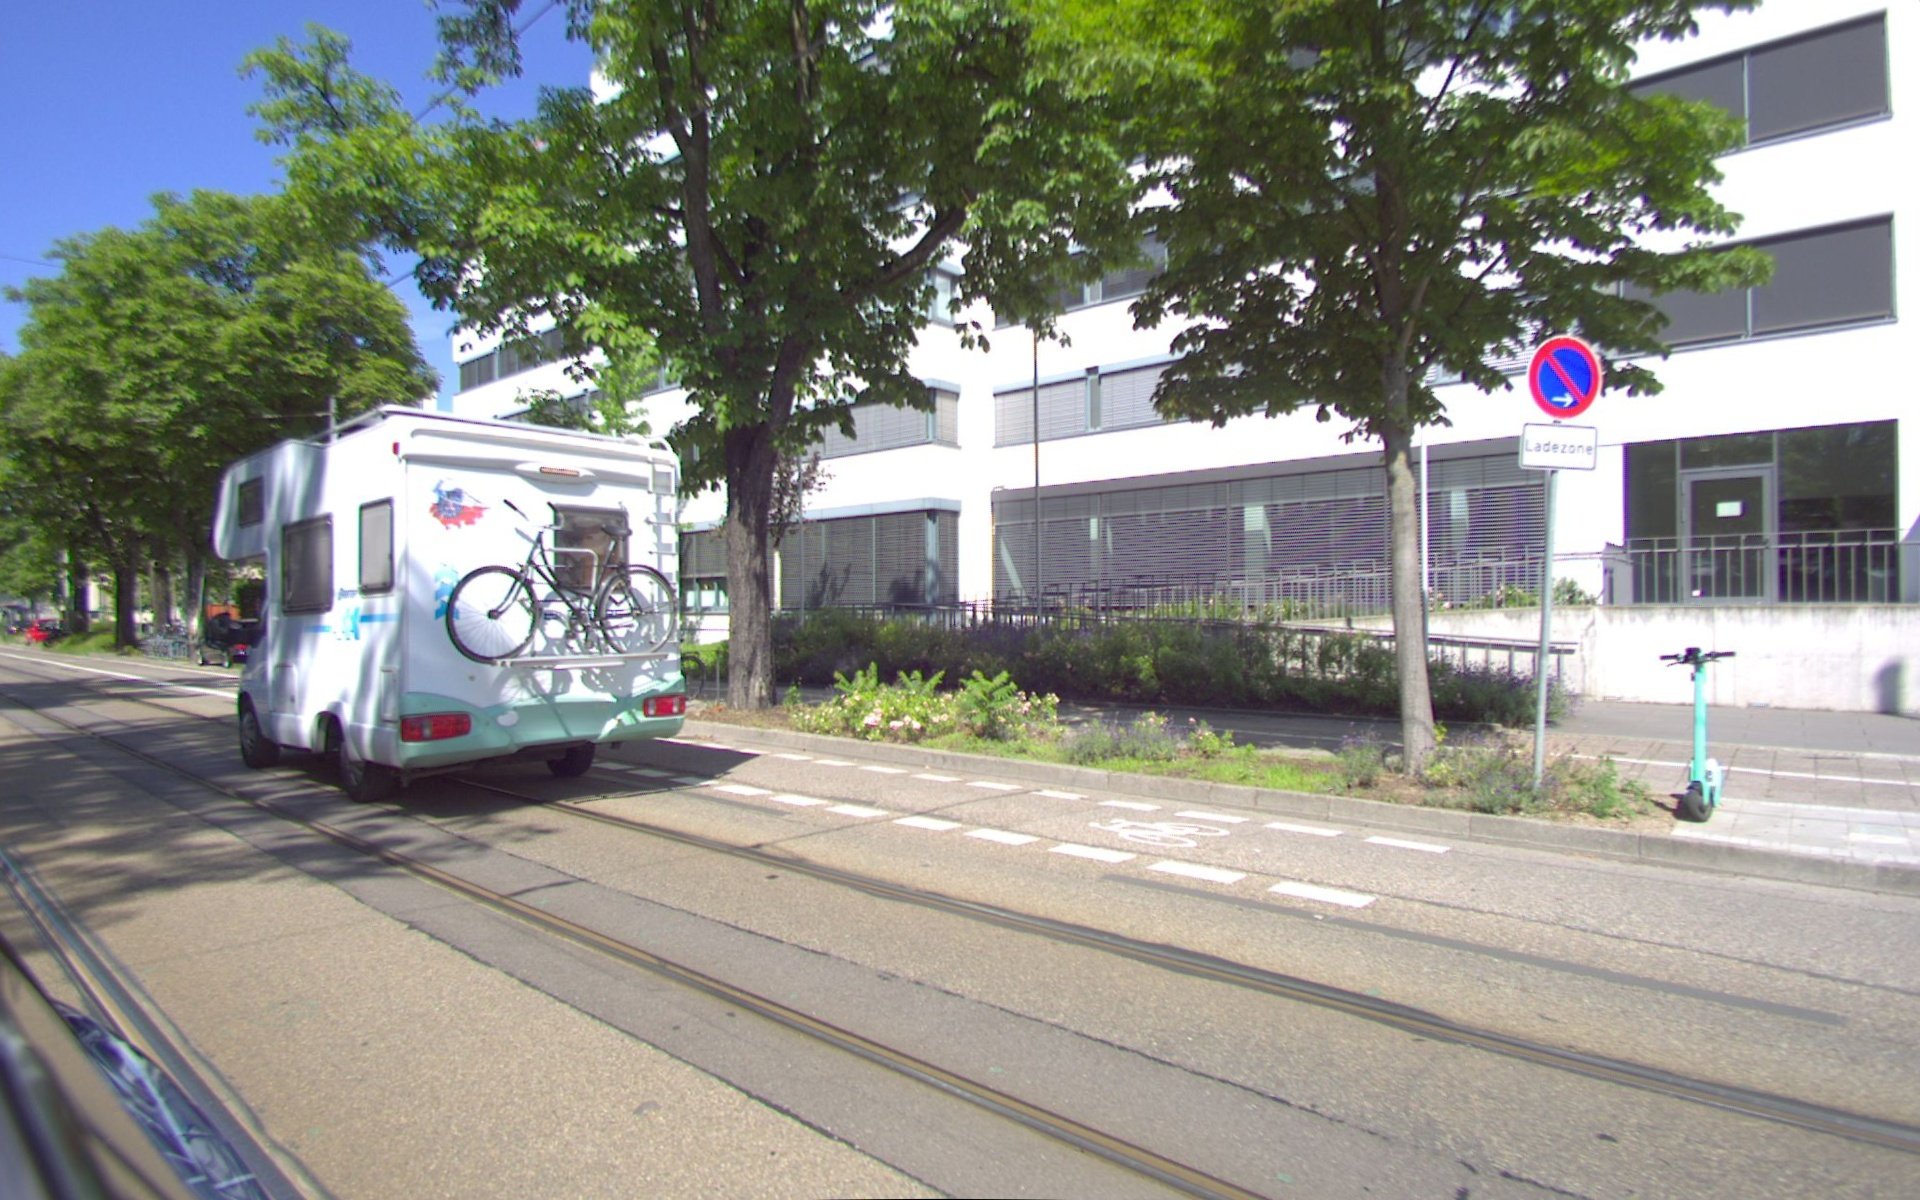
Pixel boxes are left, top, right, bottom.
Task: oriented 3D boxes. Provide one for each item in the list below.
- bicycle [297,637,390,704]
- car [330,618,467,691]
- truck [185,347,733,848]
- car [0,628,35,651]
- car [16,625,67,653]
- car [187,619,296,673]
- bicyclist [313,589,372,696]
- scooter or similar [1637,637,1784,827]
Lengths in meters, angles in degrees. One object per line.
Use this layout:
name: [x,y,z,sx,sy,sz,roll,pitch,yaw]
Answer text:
bicycle: [-11.246,1.243,18.428,2.138,1.118,0.847,-1,-1,41]
car: [-12.504,1.150,22.448,3.630,1.483,1.612,-1,-1,43]
truck: [-4.861,0.049,9.228,6.034,3.132,2.377,-2,-2,41]
car: [-59.014,2.419,63.024,3.898,1.365,1.613,-2,-1,40]
car: [-51.399,2.167,56.626,3.716,1.483,1.613,-2,-1,40]
car: [-21.809,1.359,30.663,4.269,1.494,1.614,-2,-1,39]
bicyclist: [-11.220,0.761,18.382,1.024,1.885,0.629,-2,-1,41]
scooter or similar: [5.293,0.868,7.121,0.676,1.175,1.113,-2,-1,44]
